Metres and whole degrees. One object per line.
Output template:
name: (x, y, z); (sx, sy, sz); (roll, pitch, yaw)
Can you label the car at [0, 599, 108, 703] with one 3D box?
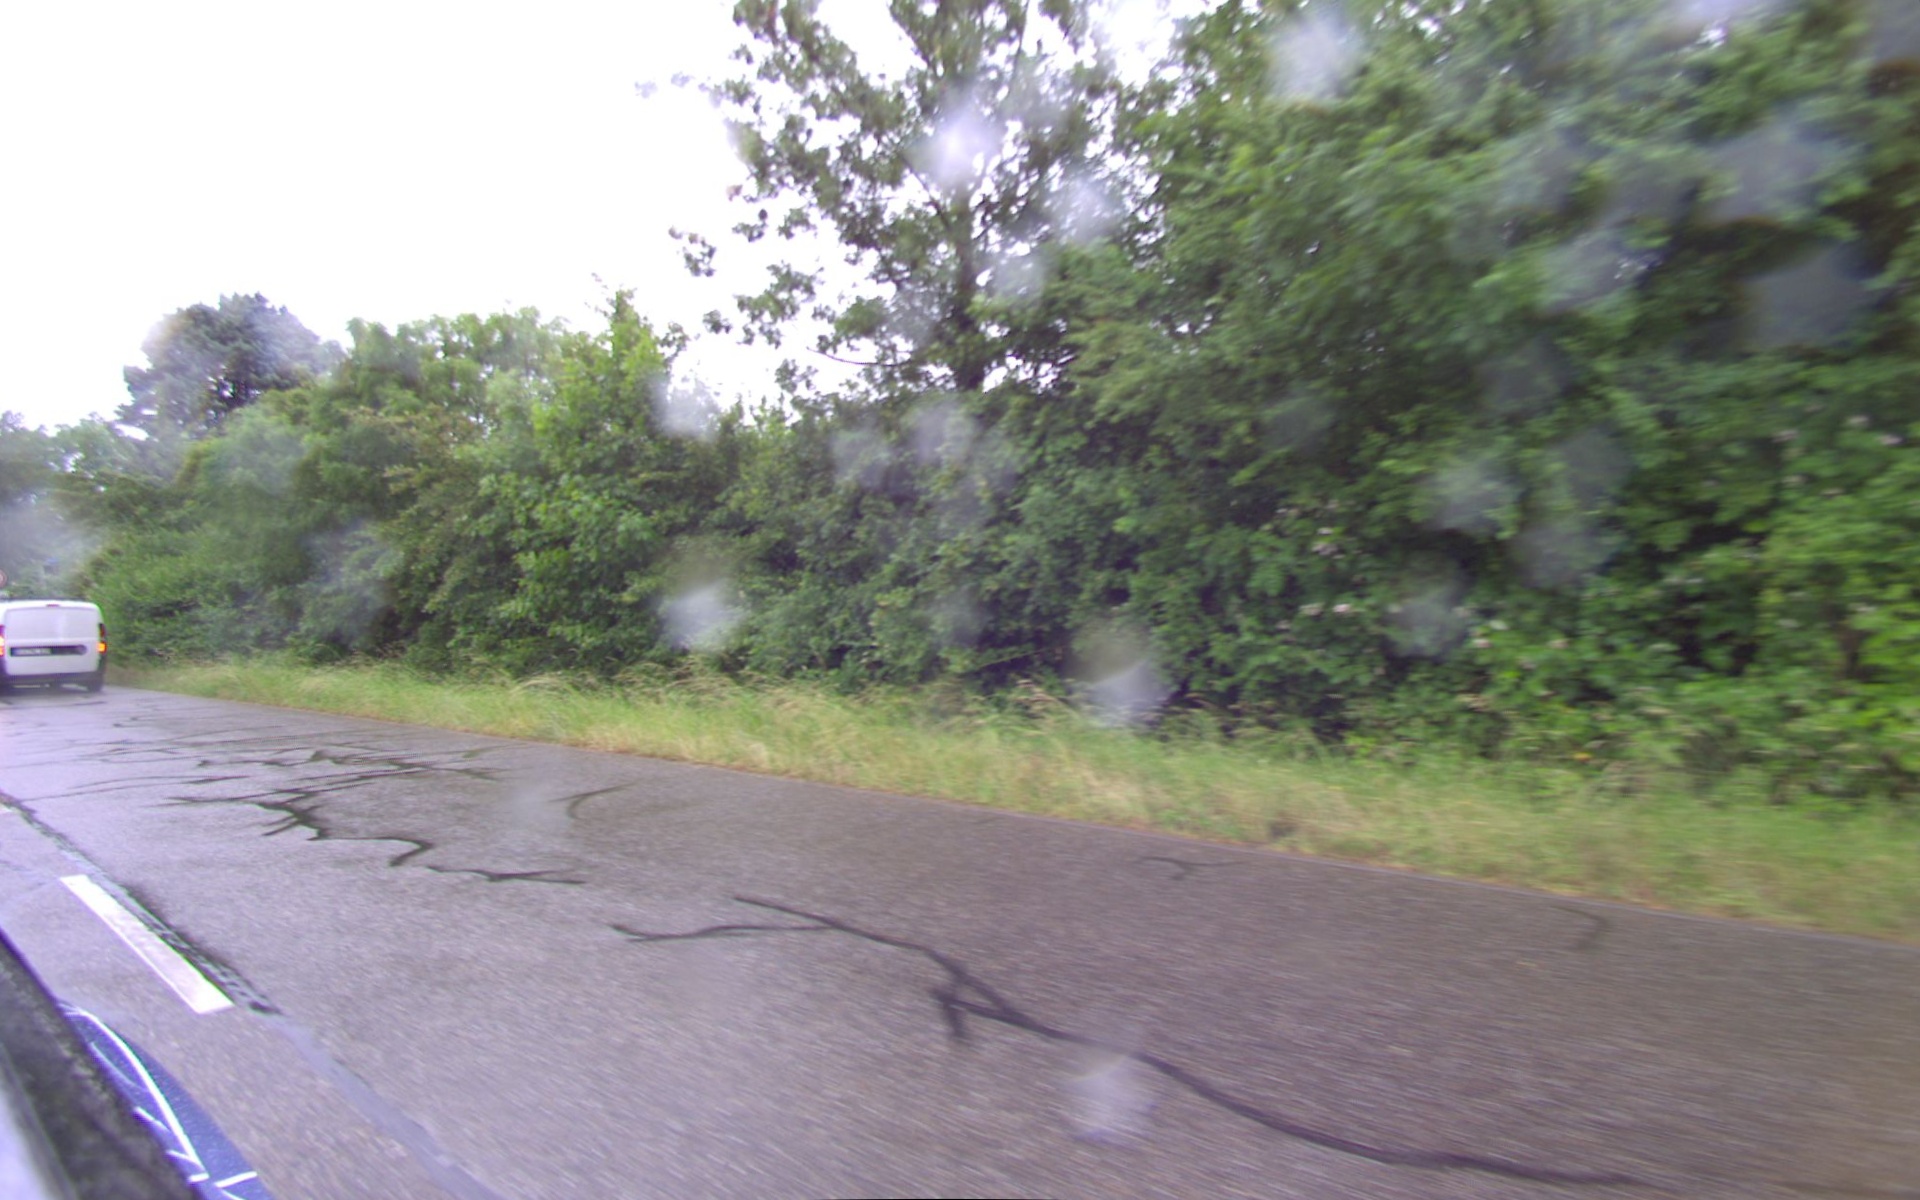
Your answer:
car: (-18.718, 0.956, 20.195); (3.948, 1.878, 1.815); (-1, 0, 37)
